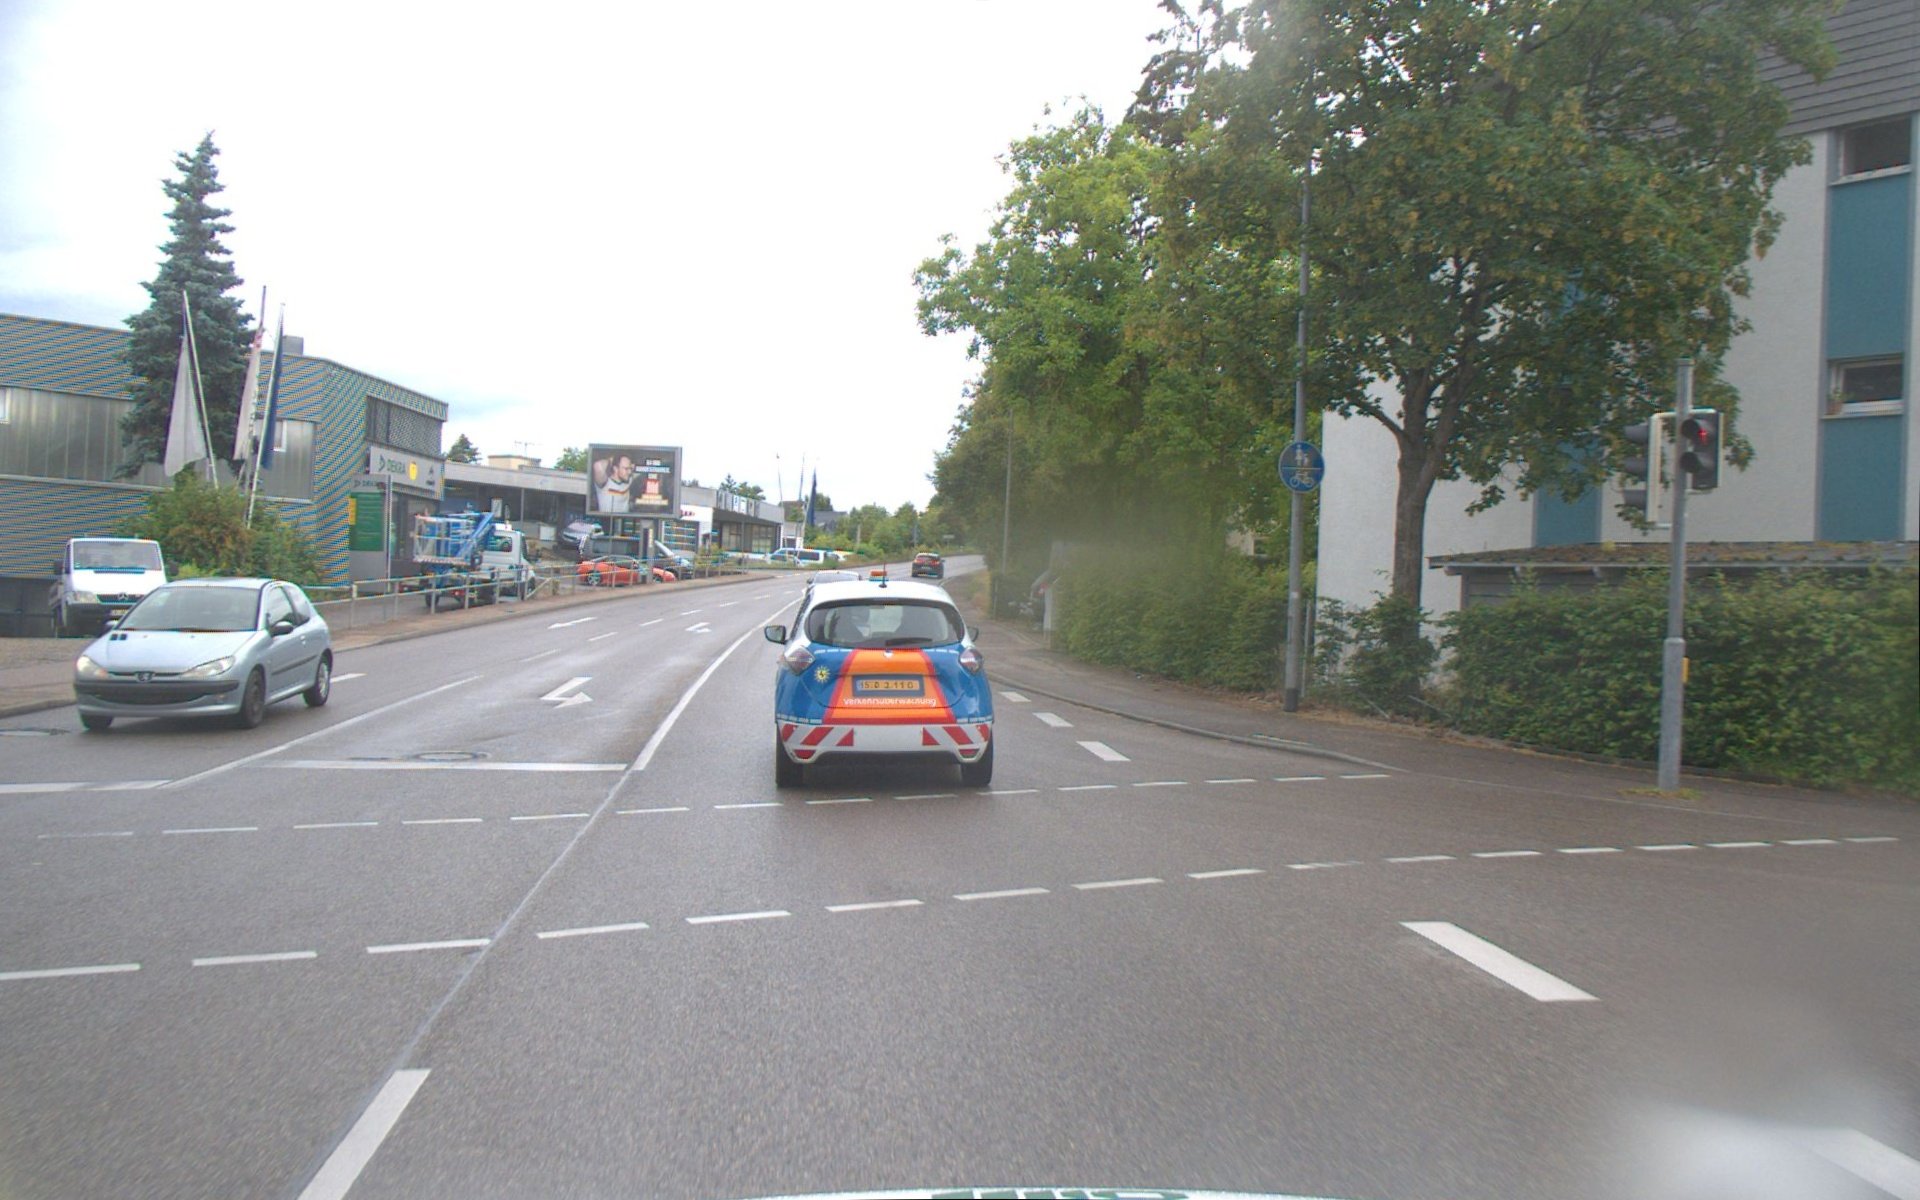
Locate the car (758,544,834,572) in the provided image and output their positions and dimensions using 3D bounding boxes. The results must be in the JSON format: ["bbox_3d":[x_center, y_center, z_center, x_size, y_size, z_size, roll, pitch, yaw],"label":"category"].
[{"bbox_3d":[-10.886,-2.766,110.168,4.706,1.652,1.796,2,0,-30],"label":"car"}]

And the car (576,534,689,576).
[{"bbox_3d":[-14.508,-1.985,73.404,4.663,1.652,1.813,2,0,-4],"label":"car"}]

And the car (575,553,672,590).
[{"bbox_3d":[-14.304,-1.210,70.352,3.918,1.400,1.809,2,0,-13],"label":"car"}]

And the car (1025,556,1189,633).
[{"bbox_3d":[3.612,-0.160,41.216,3.905,1.753,2.000,2,1,1],"label":"car"}]

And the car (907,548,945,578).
[{"bbox_3d":[-2.024,-2.213,98.993,1.952,1.713,4.002,2,1,2],"label":"car"}]

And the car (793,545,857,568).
[{"bbox_3d":[-10.625,-3.418,130.245,4.706,1.652,1.796,2,0,-30],"label":"car"}]

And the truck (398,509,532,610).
[{"bbox_3d":[-13.837,-1.150,46.600,1.952,2.583,5.560,2,2,1],"label":"truck"}]

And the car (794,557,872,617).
[{"bbox_3d":[-3.663,-0.416,48.262,1.953,1.601,4.000,2,1,-1],"label":"car"}]

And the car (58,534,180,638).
[{"bbox_3d":[-17.705,-0.331,34.726,1.974,2.029,3.958,1,1,-31],"label":"car"}]

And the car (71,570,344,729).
[{"bbox_3d":[-7.746,0.438,17.374,1.557,1.428,3.702,2,1,-8],"label":"car"}]

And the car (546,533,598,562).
[{"bbox_3d":[-23.144,-3.131,98.742,1.557,1.542,4.003,2,0,9],"label":"car"}]

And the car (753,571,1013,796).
[{"bbox_3d":[-0.791,0.616,13.951,1.714,1.609,3.991,1,0,-9],"label":"car"}]
